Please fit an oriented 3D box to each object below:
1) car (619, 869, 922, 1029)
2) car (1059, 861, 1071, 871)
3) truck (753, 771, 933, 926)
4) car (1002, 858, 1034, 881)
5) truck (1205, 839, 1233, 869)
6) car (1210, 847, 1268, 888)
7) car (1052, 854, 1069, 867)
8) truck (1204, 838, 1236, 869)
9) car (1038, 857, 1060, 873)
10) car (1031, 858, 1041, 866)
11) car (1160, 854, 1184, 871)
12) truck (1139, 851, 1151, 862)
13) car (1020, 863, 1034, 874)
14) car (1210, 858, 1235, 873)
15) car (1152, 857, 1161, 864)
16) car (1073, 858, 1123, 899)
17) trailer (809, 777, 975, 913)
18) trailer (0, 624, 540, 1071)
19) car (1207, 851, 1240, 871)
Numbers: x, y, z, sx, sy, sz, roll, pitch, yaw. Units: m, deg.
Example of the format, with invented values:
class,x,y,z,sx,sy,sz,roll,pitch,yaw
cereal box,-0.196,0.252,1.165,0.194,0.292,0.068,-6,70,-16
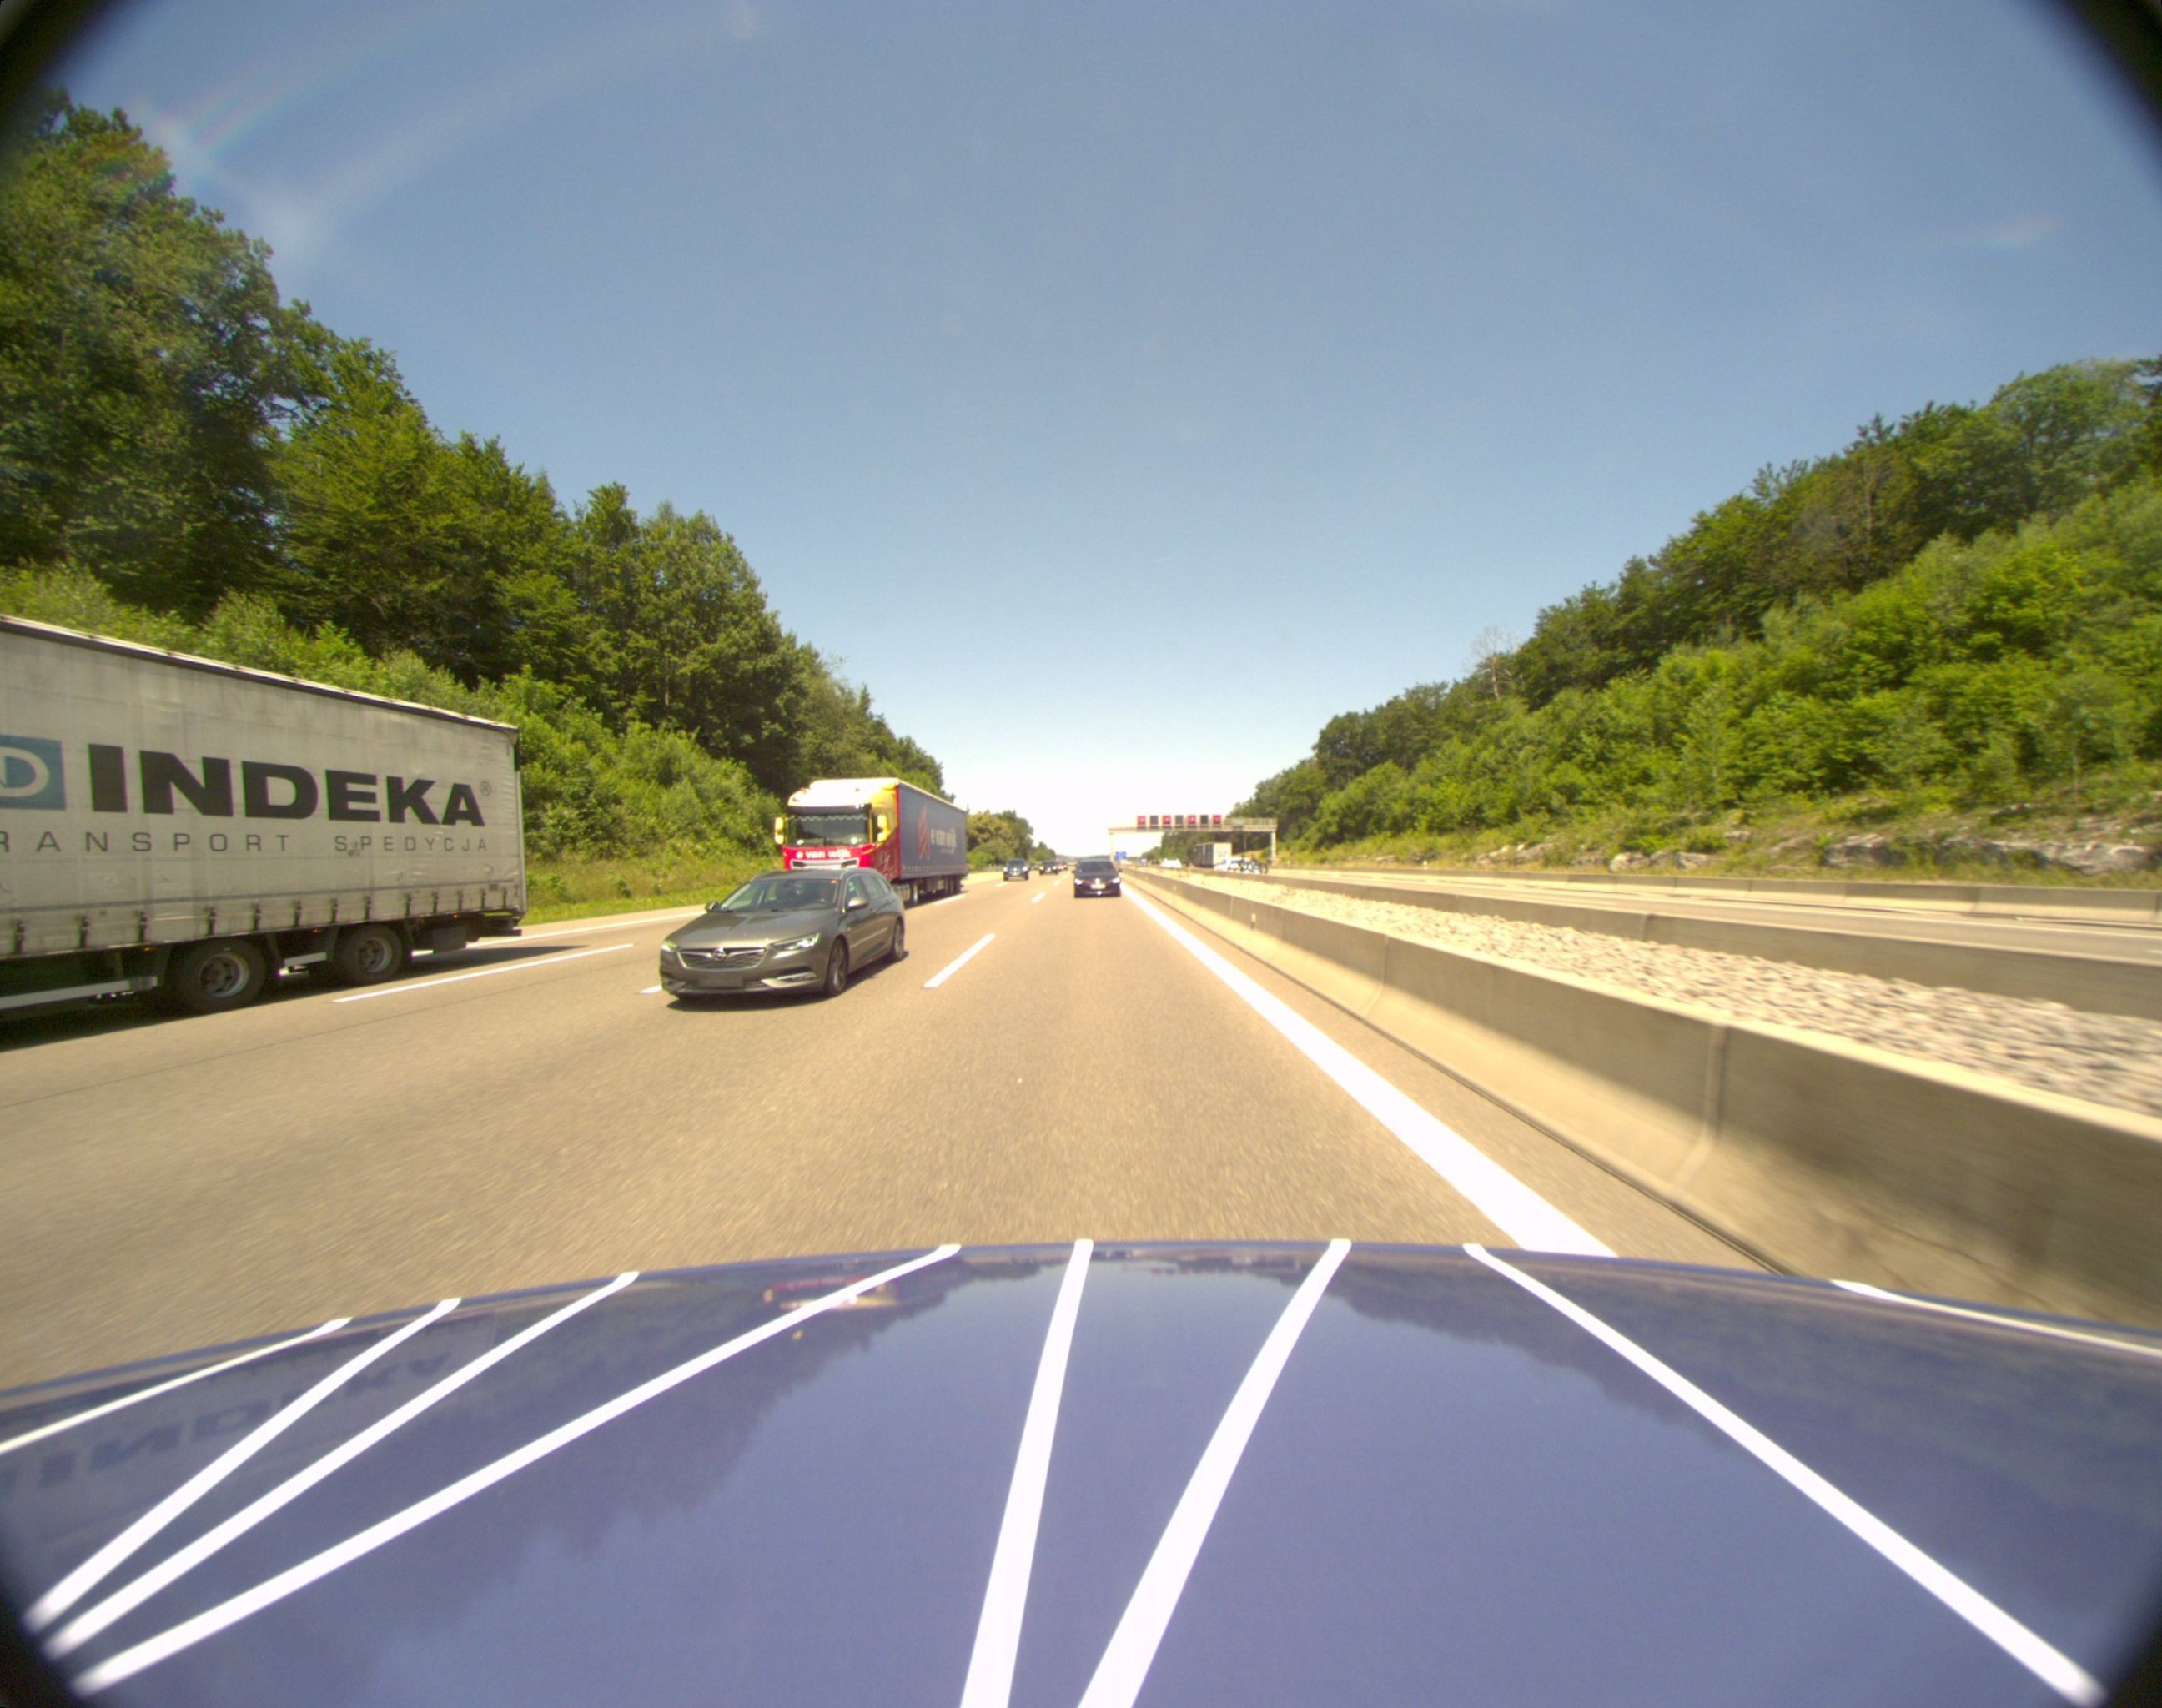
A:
class,x,y,z,sx,sy,sz,roll,pitch,yaw
car,-3.687,1.013,10.296,1.972,1.444,5.223,-2,0,-1
car,-2.385,1.780,113.143,1.715,1.308,3.490,-2,1,1
truck,-6.945,-0.147,23.595,3.018,3.958,7.539,-2,0,1
car,-4.673,1.142,57.156,1.910,1.504,4.159,-2,1,2
truck,20.164,-0.062,111.154,2.666,4.204,8.413,-1,0,1
car,8.407,0.657,40.833,1.998,2.040,5.402,-1,1,0
car,-2.603,0.848,98.623,1.910,1.504,4.159,-2,1,2
truck,20.202,-0.092,111.144,2.919,4.204,9.863,-1,0,1
car,-3.253,1.089,77.851,1.910,1.504,4.159,-2,1,2
car,-9.072,1.651,153.384,1.910,1.504,4.159,-1,0,0
car,8.848,0.850,74.492,1.910,1.504,4.159,-2,1,2
truck,22.152,0.989,264.307,3.383,3.739,8.585,-1,0,1
car,-8.103,2.125,114.169,1.910,1.504,4.159,-1,0,0
car,13.646,1.056,73.492,1.743,1.374,3.871,-1,0,1
car,17.539,1.499,176.355,1.743,1.374,3.871,-1,0,1
car,0.671,0.913,29.969,1.778,1.425,4.144,-2,-1,1
trailer,-6.797,-0.302,30.566,2.927,4.119,14.847,-1,0,0
trailer,-11.031,-0.053,9.255,2.585,4.046,8.382,-2,1,1
car,11.881,0.546,63.583,1.910,1.504,4.907,1,1,2
